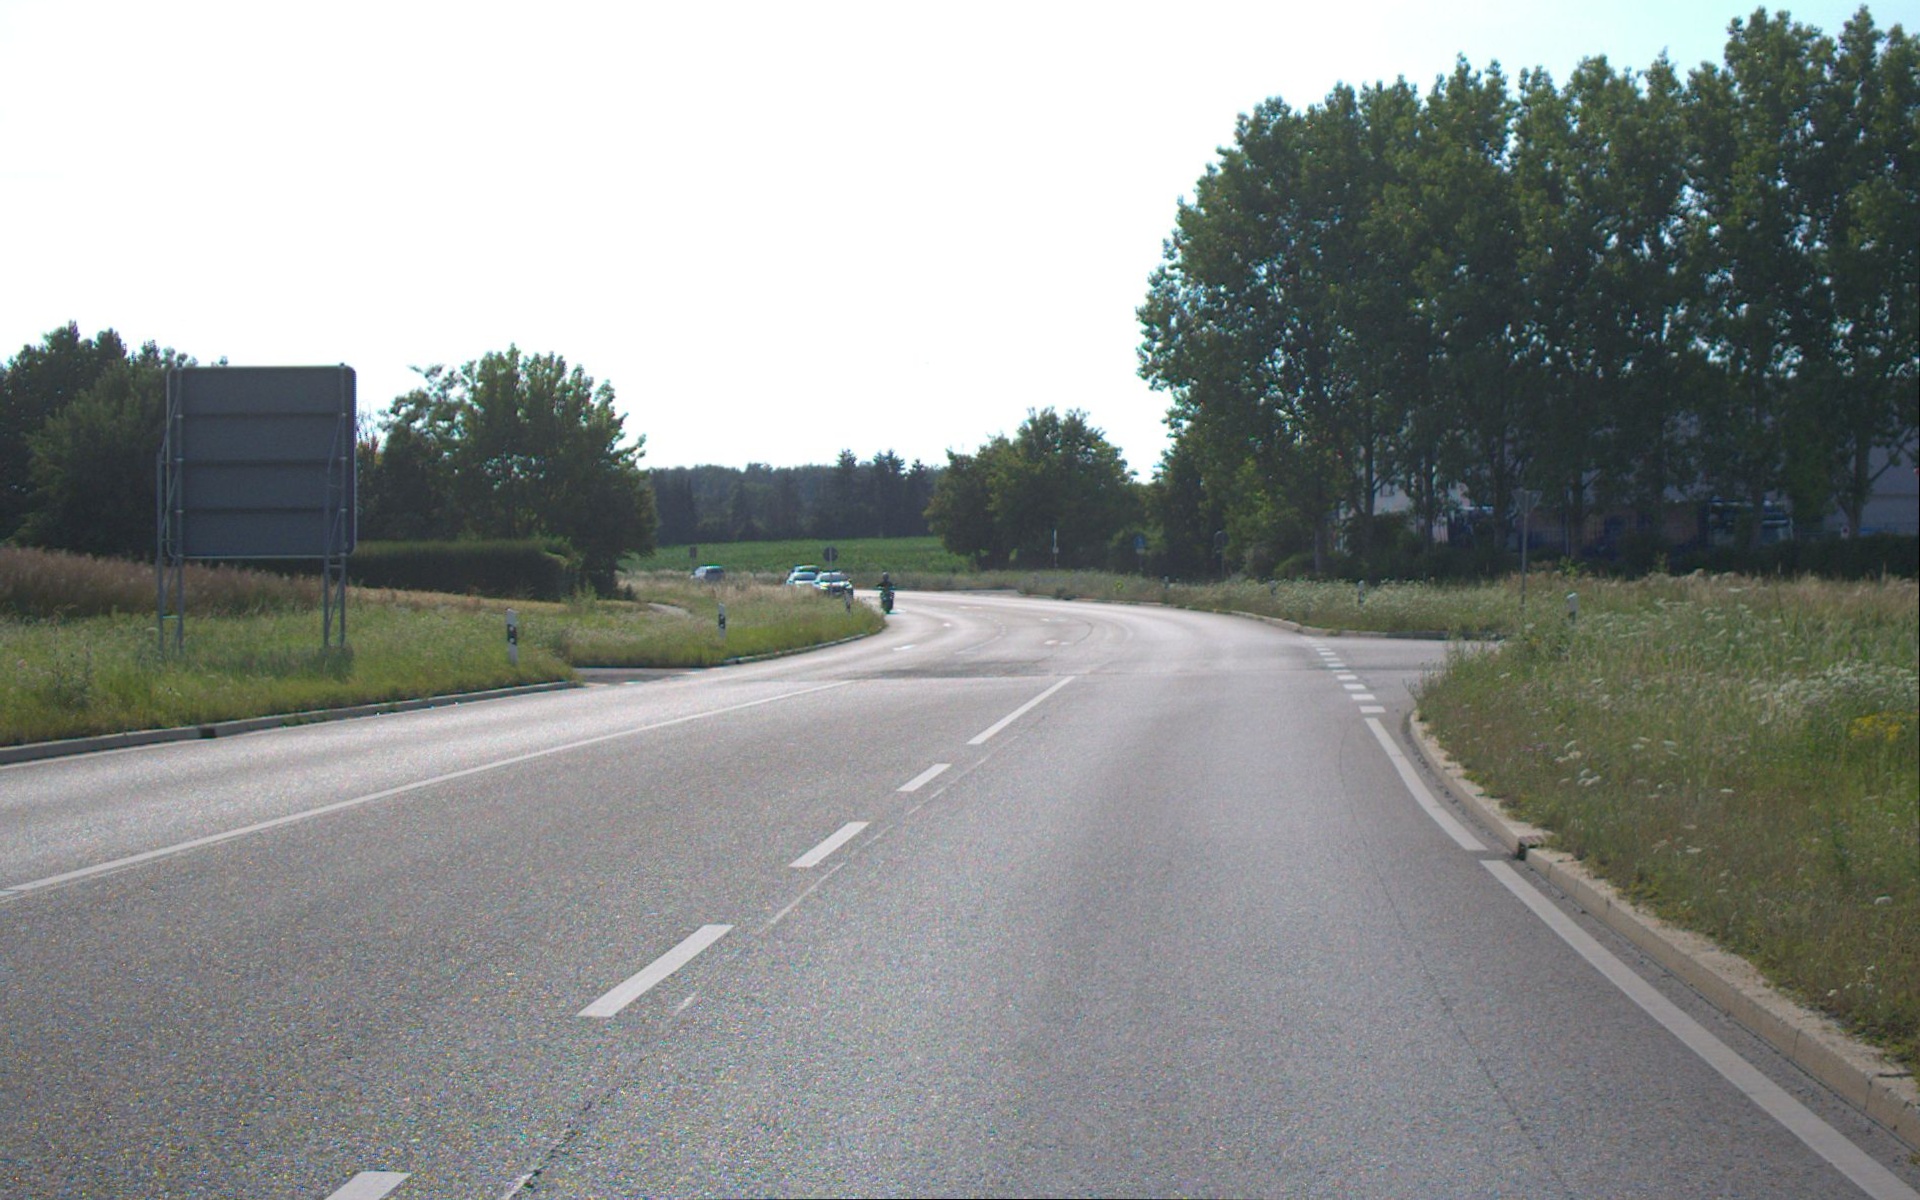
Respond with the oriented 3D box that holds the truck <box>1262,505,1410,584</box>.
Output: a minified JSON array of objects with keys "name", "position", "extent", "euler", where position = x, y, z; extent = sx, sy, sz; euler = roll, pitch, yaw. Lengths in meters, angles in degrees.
[{"name":"truck","position":[16.836,-2.460,154.644],"extent":[2.510,3.365,9.688],"euler":[2,0,-20]}]

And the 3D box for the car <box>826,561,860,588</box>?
[{"name":"car","position":[-6.007,-1.337,176.991],"extent":[1.684,1.344,4.000],"euler":[-1,1,-1]}]

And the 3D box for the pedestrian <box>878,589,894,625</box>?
[{"name":"pedestrian","position":[-3.090,0.298,143.462],"extent":[0.566,1.500,0.865],"euler":[3,0,1]}]

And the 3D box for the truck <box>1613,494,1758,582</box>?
[{"name":"truck","position":[27.910,-2.356,132.481],"extent":[2.619,3.151,5.711],"euler":[2,-1,-22]}]

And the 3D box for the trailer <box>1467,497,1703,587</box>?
[{"name":"trailer","position":[25.157,-2.267,139.427],"extent":[2.683,3.131,13.273],"euler":[2,-2,-22]}]
